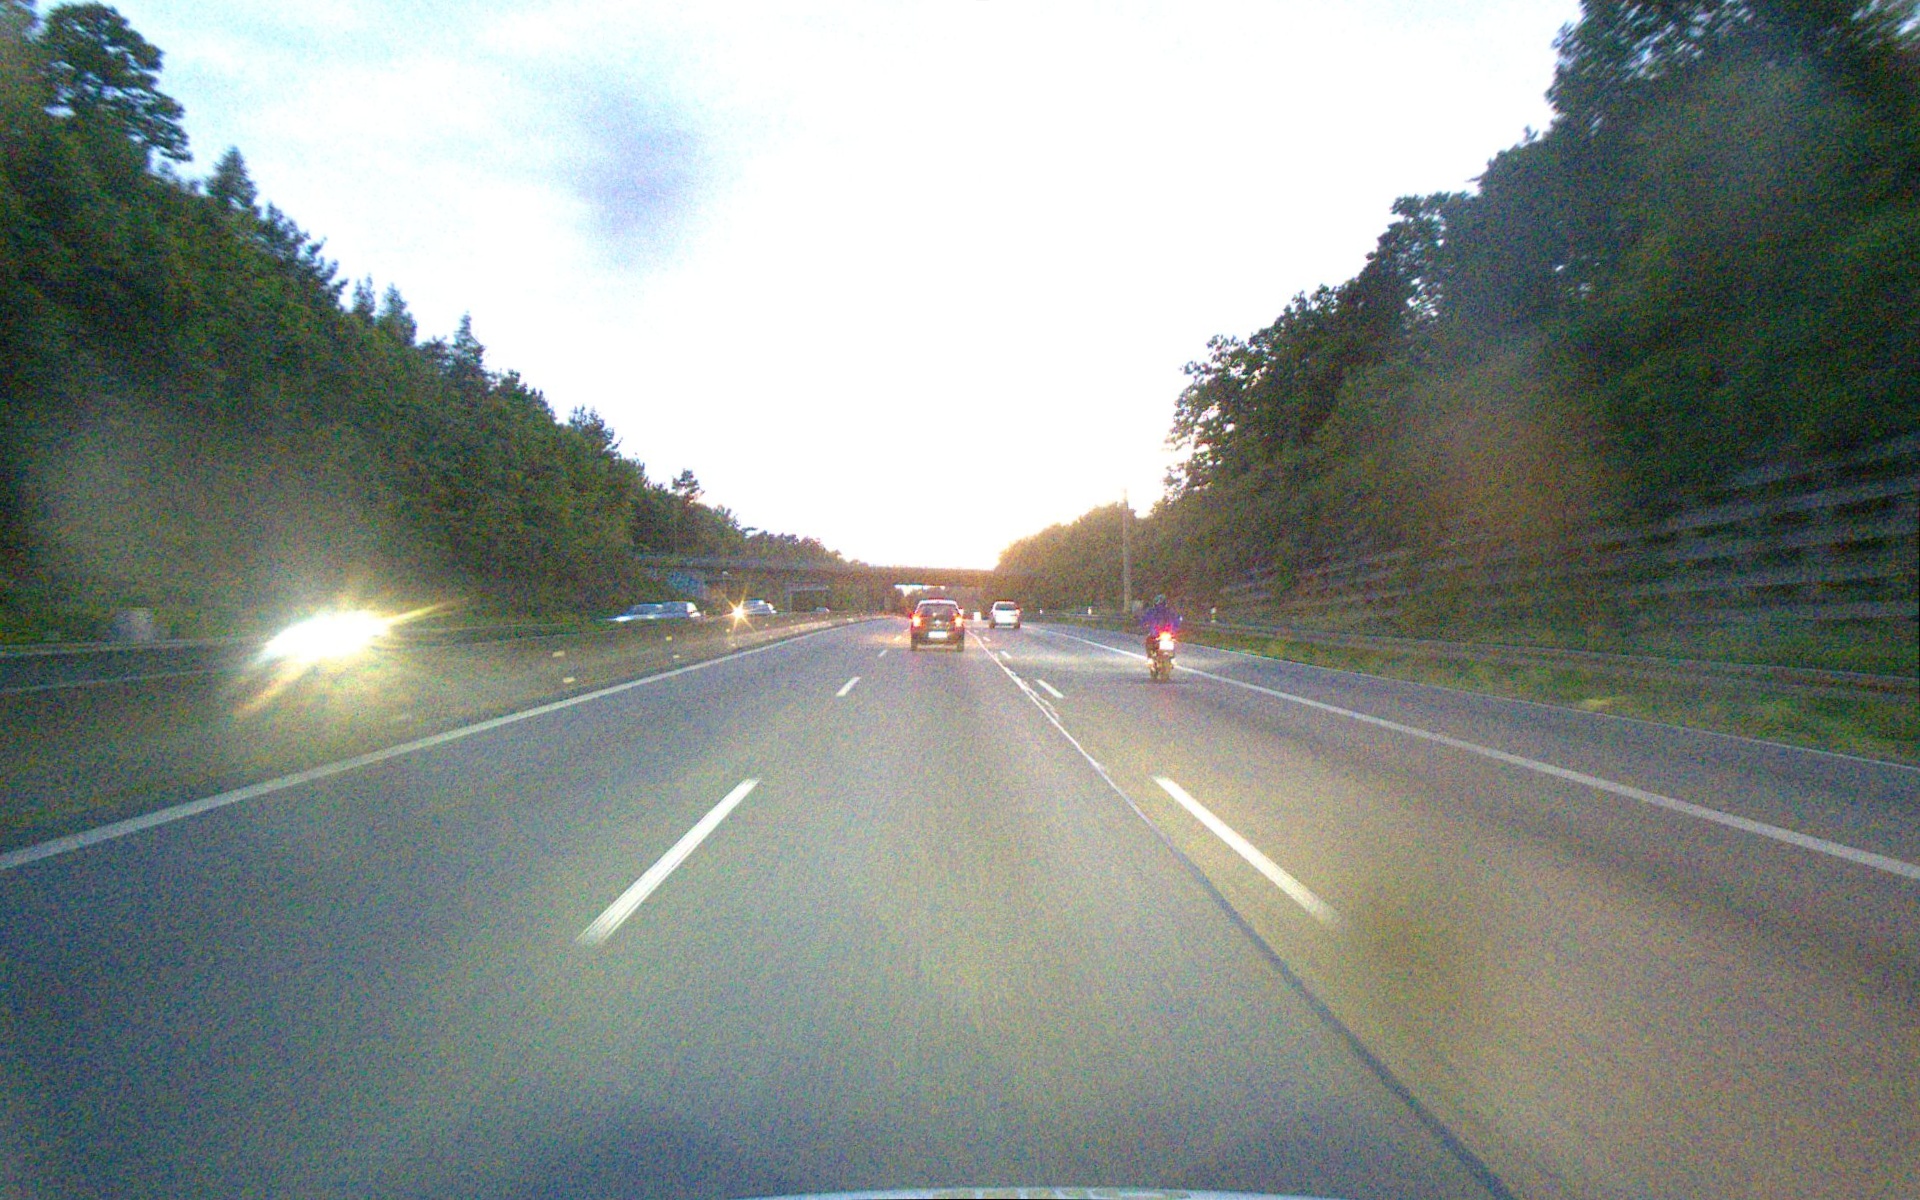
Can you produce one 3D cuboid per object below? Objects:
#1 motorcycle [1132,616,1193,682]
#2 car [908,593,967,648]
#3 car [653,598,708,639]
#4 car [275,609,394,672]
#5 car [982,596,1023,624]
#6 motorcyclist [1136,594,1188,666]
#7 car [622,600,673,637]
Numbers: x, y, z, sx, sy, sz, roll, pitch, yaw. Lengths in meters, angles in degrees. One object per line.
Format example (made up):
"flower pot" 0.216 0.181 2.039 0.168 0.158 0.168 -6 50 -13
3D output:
"motorcycle" 3.754 0.892 30.884 0.813 1.154 2.475 0 0 -1
"car" -0.672 0.611 49.665 1.669 1.535 4.231 1 0 -1
"car" -12.516 0.800 74.325 1.878 1.796 5.005 0 0 -3
"car" -19.103 1.193 50.772 1.878 1.796 5.007 0 0 -2
"car" 2.401 0.573 95.074 1.829 1.520 4.394 1 0 -5
"motorcyclist" 3.756 0.551 30.830 0.813 1.314 1.190 0 0 -1
"car" -15.690 0.909 83.190 1.878 1.796 5.005 0 0 -3
